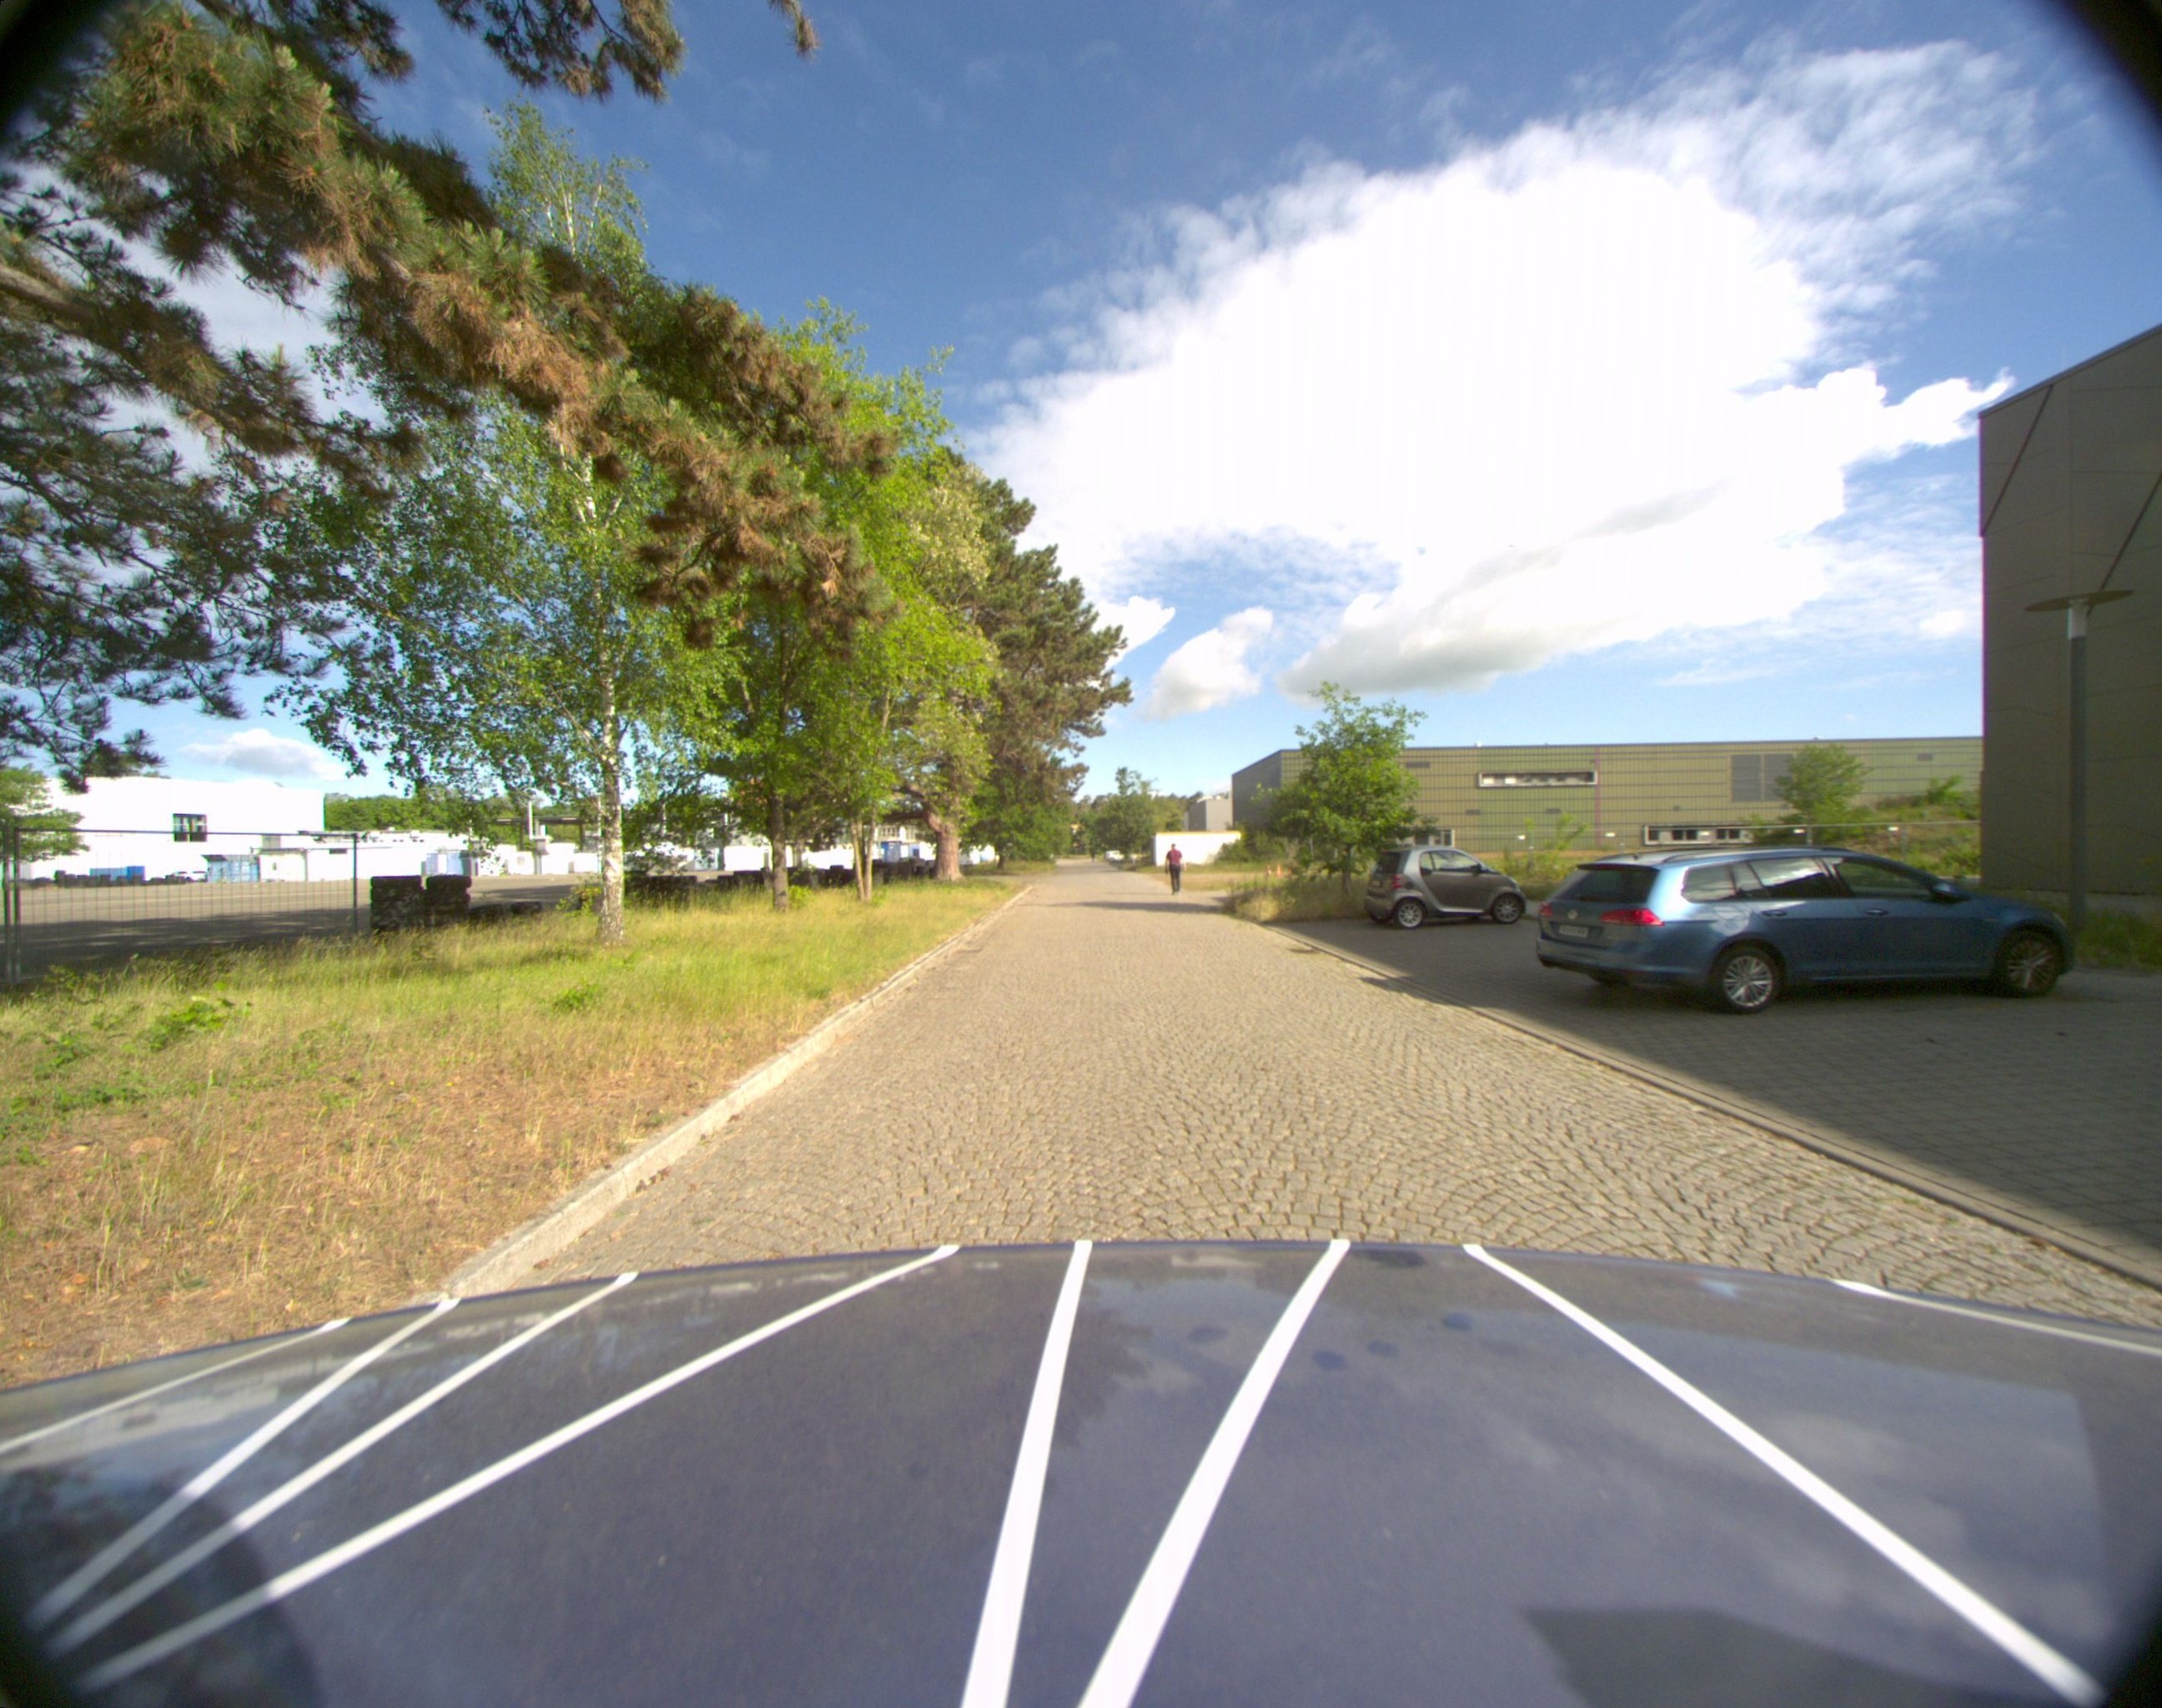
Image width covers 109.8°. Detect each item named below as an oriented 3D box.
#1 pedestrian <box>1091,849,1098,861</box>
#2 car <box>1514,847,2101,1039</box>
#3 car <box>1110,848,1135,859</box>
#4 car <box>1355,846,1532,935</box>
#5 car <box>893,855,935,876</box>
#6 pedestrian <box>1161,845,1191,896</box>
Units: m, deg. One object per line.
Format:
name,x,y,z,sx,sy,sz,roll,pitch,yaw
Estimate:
pedestrian,2.025,0.088,114.911,0.908,1.797,0.983,-1,1,-7
car,6.907,0.770,7.525,4.268,1.455,1.680,-3,0,-2
car,6.629,-0.152,122.204,3.996,1.678,2.000,-1,1,3
car,7.023,0.675,14.907,2.706,1.533,1.518,-3,1,-1
car,-12.337,0.827,56.471,1.846,1.440,4.001,-1,1,6
pedestrian,3.358,0.574,26.869,0.806,1.761,1.152,-1,1,-4
